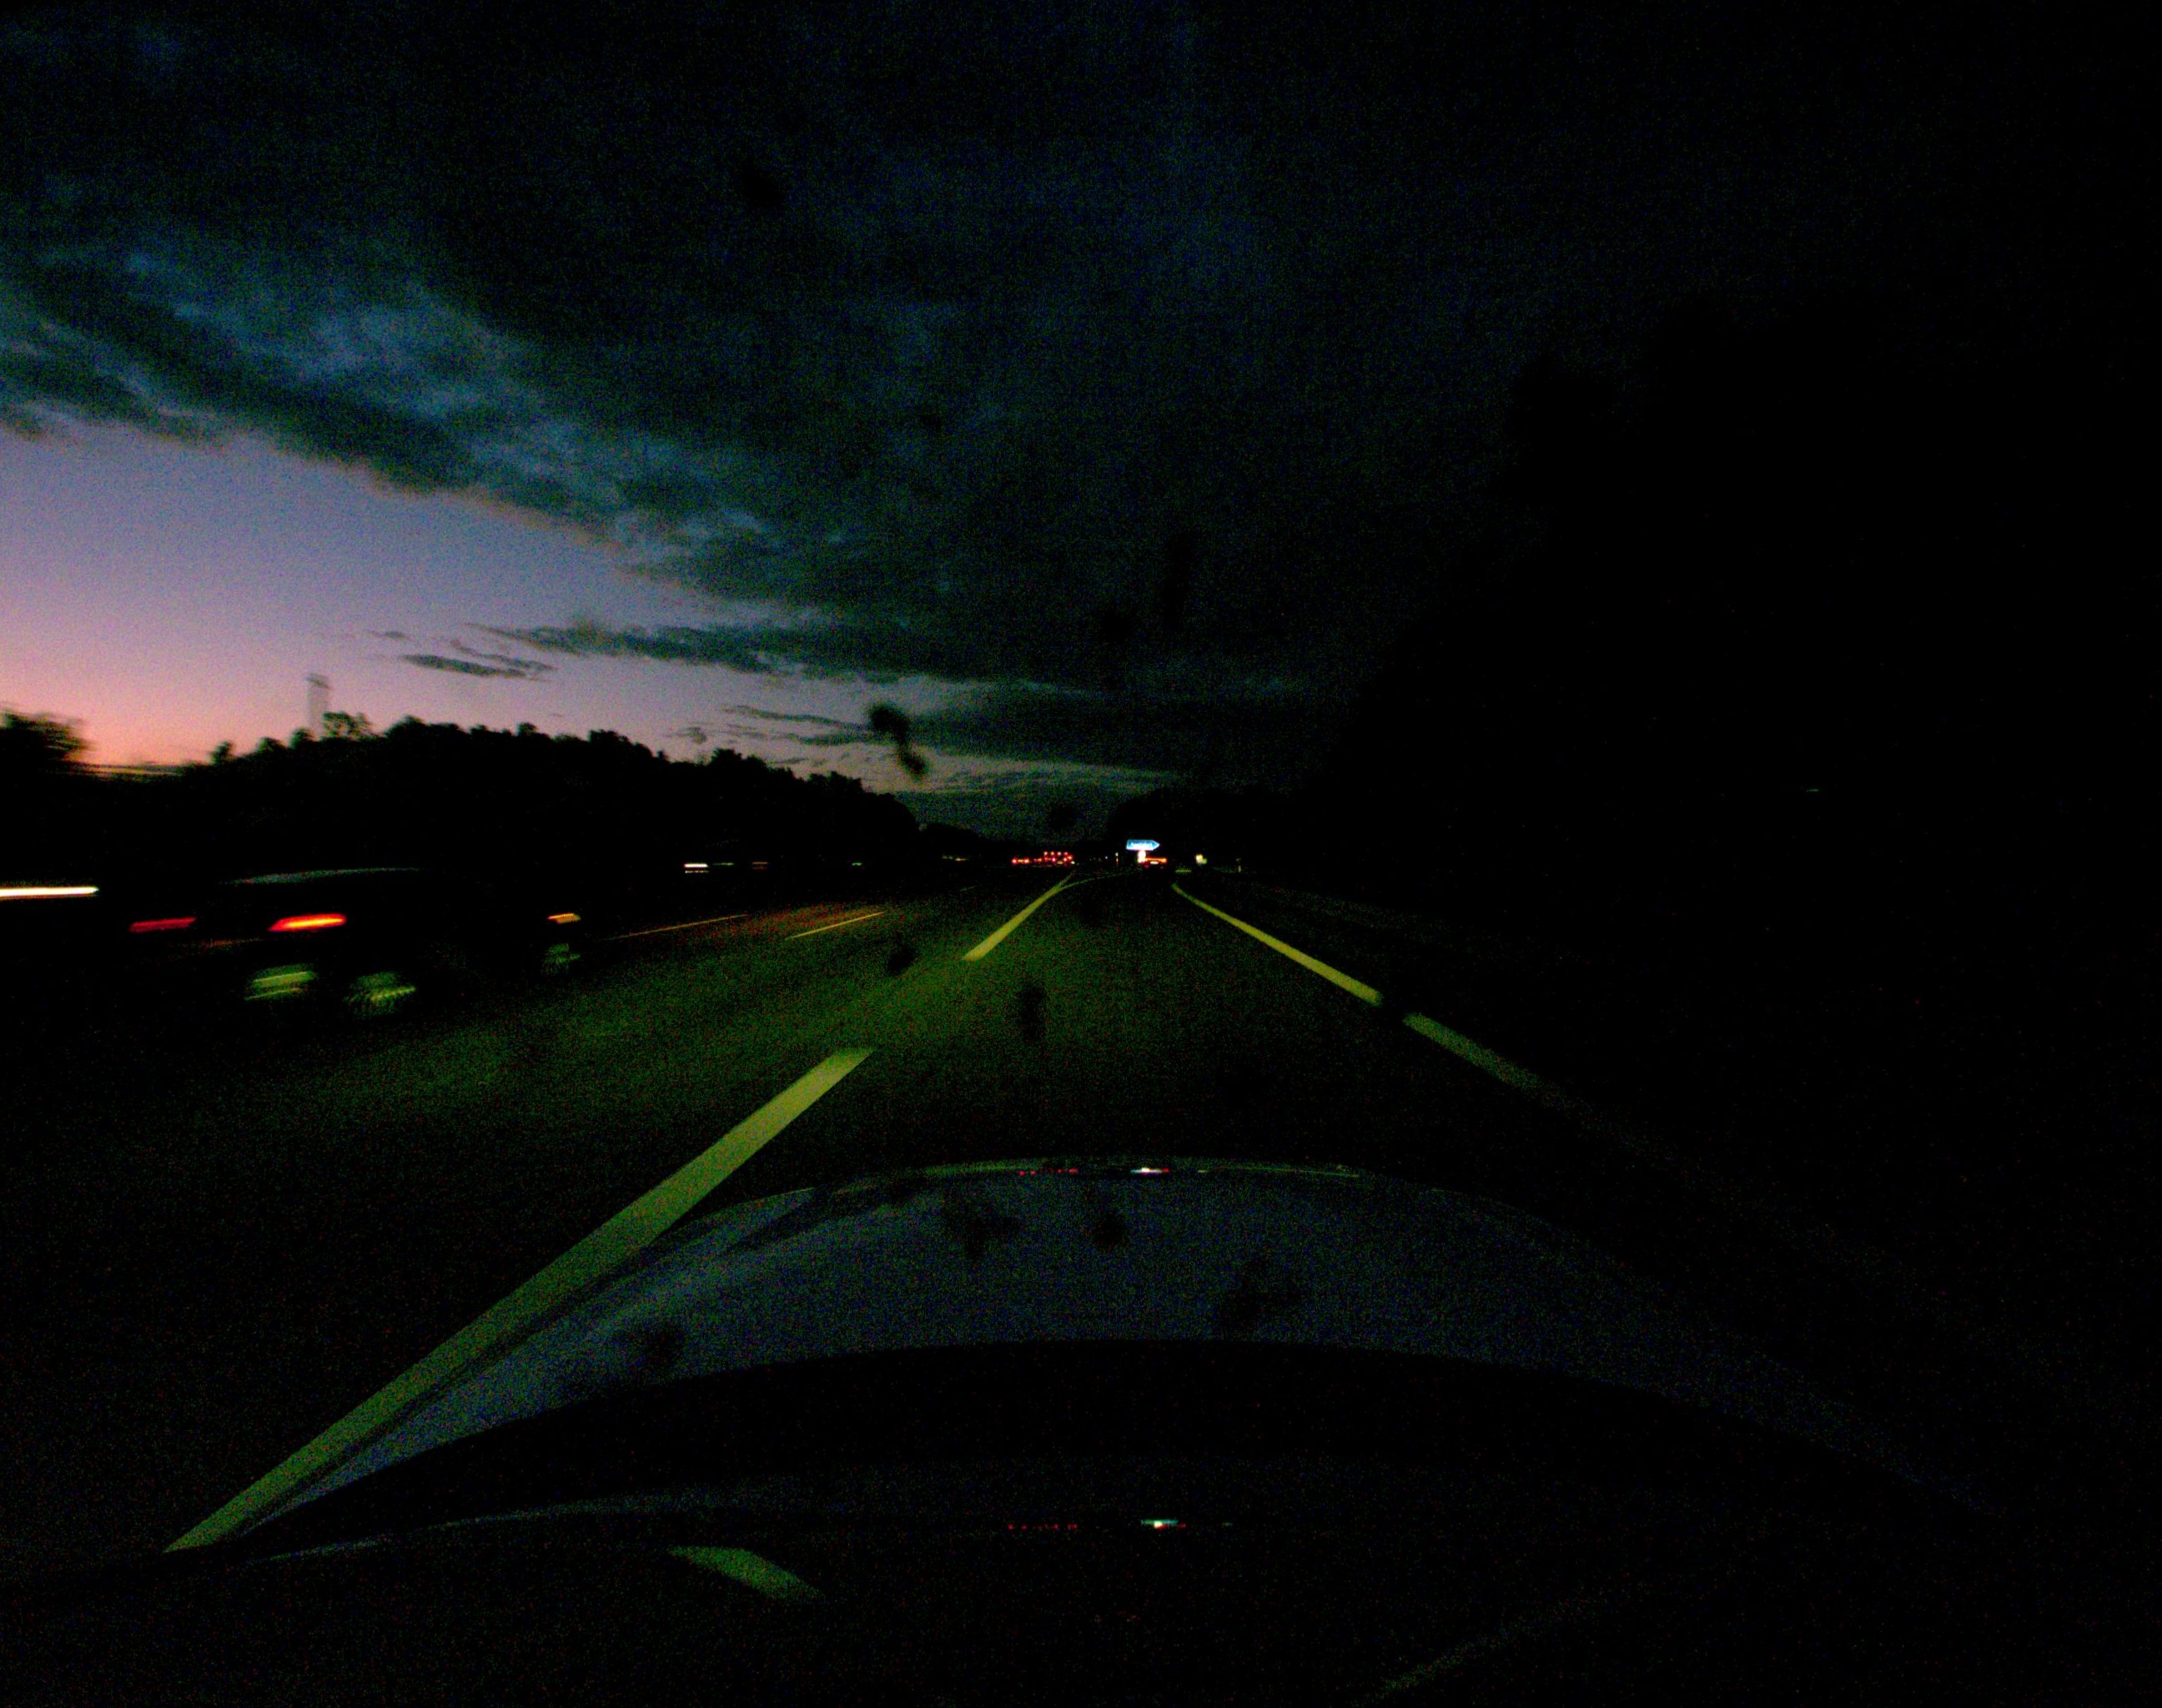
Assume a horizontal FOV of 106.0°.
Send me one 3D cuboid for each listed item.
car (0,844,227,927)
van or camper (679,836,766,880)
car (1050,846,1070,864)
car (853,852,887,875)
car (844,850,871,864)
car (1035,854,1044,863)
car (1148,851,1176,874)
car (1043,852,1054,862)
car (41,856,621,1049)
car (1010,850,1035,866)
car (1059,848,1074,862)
[{"bbox_3d":[-26.441,0.772,22.106,2.021,2.013,4.238,-1,0,0],"label":"car"},{"bbox_3d":[-22.508,0.227,51.455,2.507,2.595,6.490,-1,0,1],"label":"van or camper"},{"bbox_3d":[-2.387,0.145,93.993,1.985,2.013,4.003,-1,0,3],"label":"car"},{"bbox_3d":[-19.155,0.833,74.177,1.986,2.013,4.001,0,0,1],"label":"car"},{"bbox_3d":[-26.761,0.324,97.698,1.986,1.549,4.001,1,0,1],"label":"car"},{"bbox_3d":[-10.236,1.024,199.343,2.100,2.013,3.996,-2,0,-3],"label":"car"},{"bbox_3d":[6.112,0.604,60.996,1.983,1.659,4.323,-1,0,7],"label":"car"},{"bbox_3d":[-6.670,0.695,169.197,2.064,2.013,4.001,-1,0,1],"label":"car"},{"bbox_3d":[-7.408,0.815,8.910,1.986,1.498,4.551,-1,0,2],"label":"car"},{"bbox_3d":[-6.380,0.387,89.260,1.983,1.642,4.562,-1,0,6],"label":"car"},{"bbox_3d":[-2.203,0.142,126.377,1.985,2.013,4.004,-1,0,3],"label":"car"}]
